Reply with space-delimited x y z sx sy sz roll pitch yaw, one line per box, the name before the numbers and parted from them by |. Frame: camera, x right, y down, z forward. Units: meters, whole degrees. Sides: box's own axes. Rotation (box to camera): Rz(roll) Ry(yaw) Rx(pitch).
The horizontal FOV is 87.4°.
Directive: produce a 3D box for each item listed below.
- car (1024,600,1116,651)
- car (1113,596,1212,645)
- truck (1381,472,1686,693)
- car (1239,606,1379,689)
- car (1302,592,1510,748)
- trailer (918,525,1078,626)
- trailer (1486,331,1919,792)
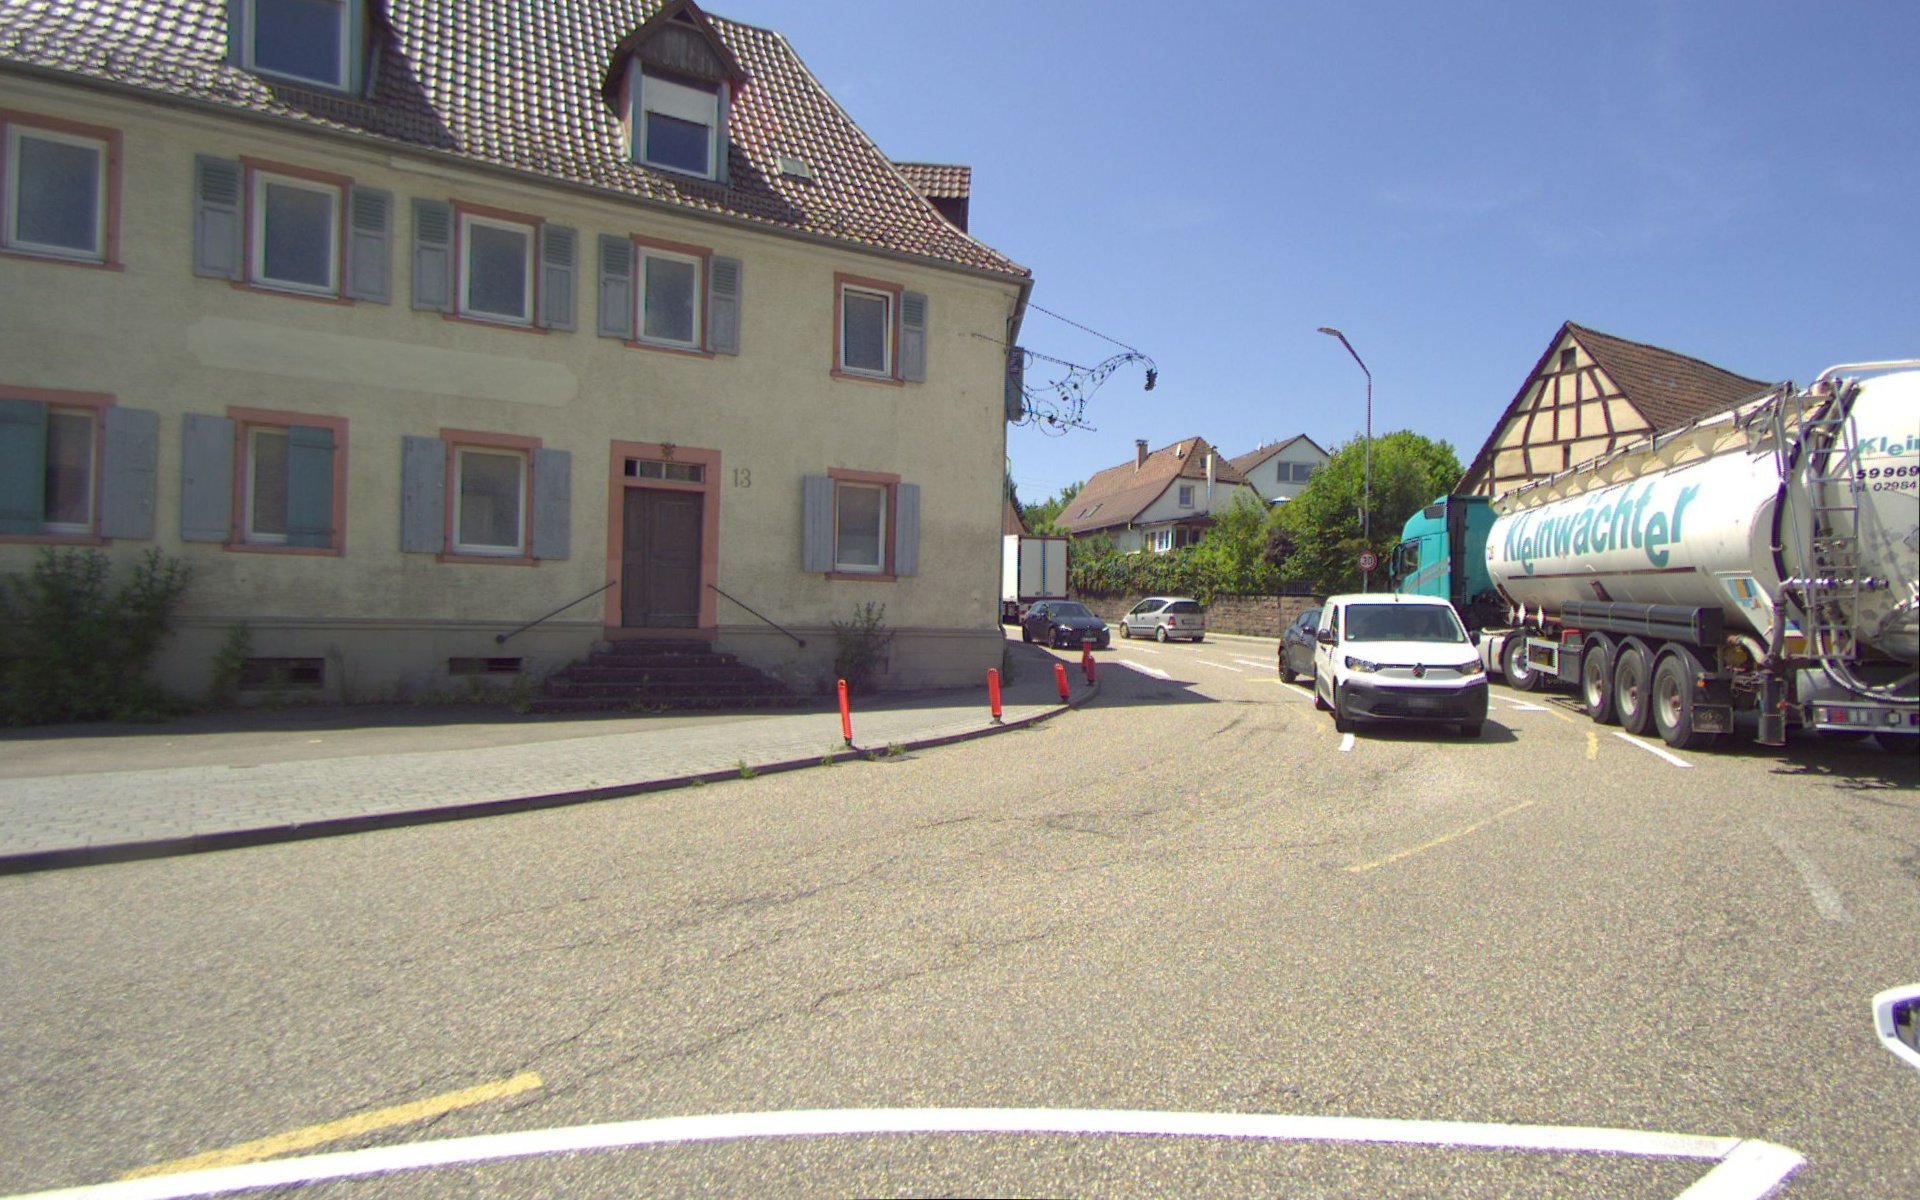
car | 3.423 0.771 31.982 1.810 1.461 3.992 0 0 -11
car | 7.138 0.716 35.690 1.761 1.606 3.588 2 -1 -21
truck | 11.741 -0.291 21.256 2.940 4.018 5.575 1 0 -5
car | 7.516 0.963 22.058 1.762 1.544 4.000 2 1 2
car | 6.074 0.834 14.238 1.841 1.809 4.524 1 0 13
trailer | 1.480 -1.090 50.052 3.097 4.334 12.428 1 0 -22
trailer | 10.255 -0.321 14.200 2.903 4.001 11.620 2 1 18
